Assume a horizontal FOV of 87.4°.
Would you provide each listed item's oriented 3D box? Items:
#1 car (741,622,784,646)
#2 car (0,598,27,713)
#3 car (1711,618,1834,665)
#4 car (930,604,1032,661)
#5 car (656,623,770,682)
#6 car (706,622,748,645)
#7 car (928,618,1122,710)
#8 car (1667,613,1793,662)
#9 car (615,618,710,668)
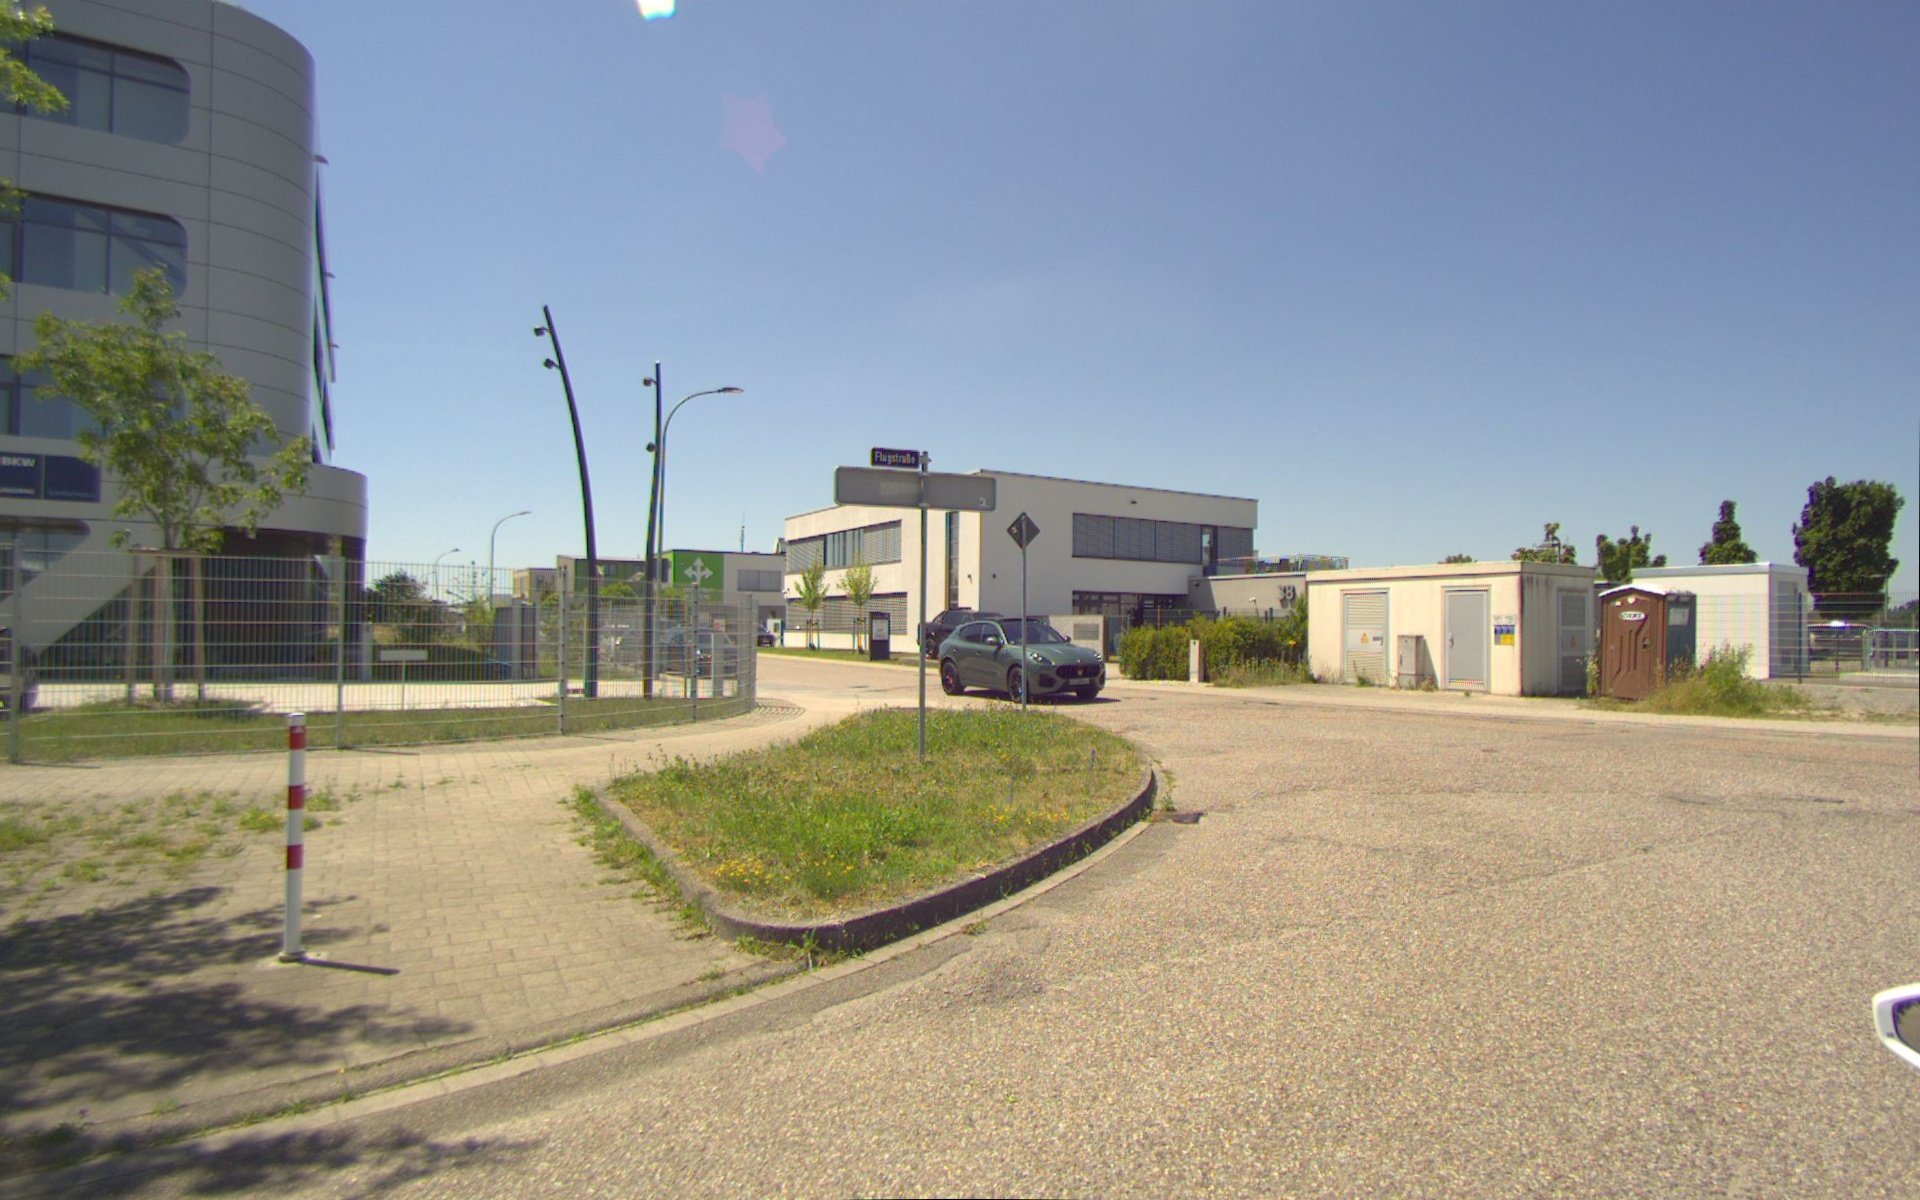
[{"bbox_3d":[-13.860,2.373,70.437,1.554,1.572,3.963,1,-2,-34],"label":"car"},{"bbox_3d":[-12.116,0.641,11.287,1.659,1.409,3.462,1,-3,-31],"label":"car"},{"bbox_3d":[37.094,1.876,45.949,1.977,2.040,3.968,1,-2,-30],"label":"car"},{"bbox_3d":[0.737,1.214,38.207,1.979,2.040,3.963,1,-2,-34],"label":"car"},{"bbox_3d":[-7.307,1.508,29.489,1.980,1.560,3.963,4,-4,-34],"label":"car"},{"bbox_3d":[-16.215,2.297,69.714,1.554,1.572,3.963,1,-2,-34],"label":"car"},{"bbox_3d":[1.260,1.267,21.509,1.935,1.730,4.473,0,-1,-32],"label":"car"},{"bbox_3d":[33.621,1.597,43.963,1.977,2.040,3.968,1,-2,-30],"label":"car"},{"bbox_3d":[-10.220,1.461,34.304,1.980,1.560,3.963,4,-4,-34],"label":"car"}]
